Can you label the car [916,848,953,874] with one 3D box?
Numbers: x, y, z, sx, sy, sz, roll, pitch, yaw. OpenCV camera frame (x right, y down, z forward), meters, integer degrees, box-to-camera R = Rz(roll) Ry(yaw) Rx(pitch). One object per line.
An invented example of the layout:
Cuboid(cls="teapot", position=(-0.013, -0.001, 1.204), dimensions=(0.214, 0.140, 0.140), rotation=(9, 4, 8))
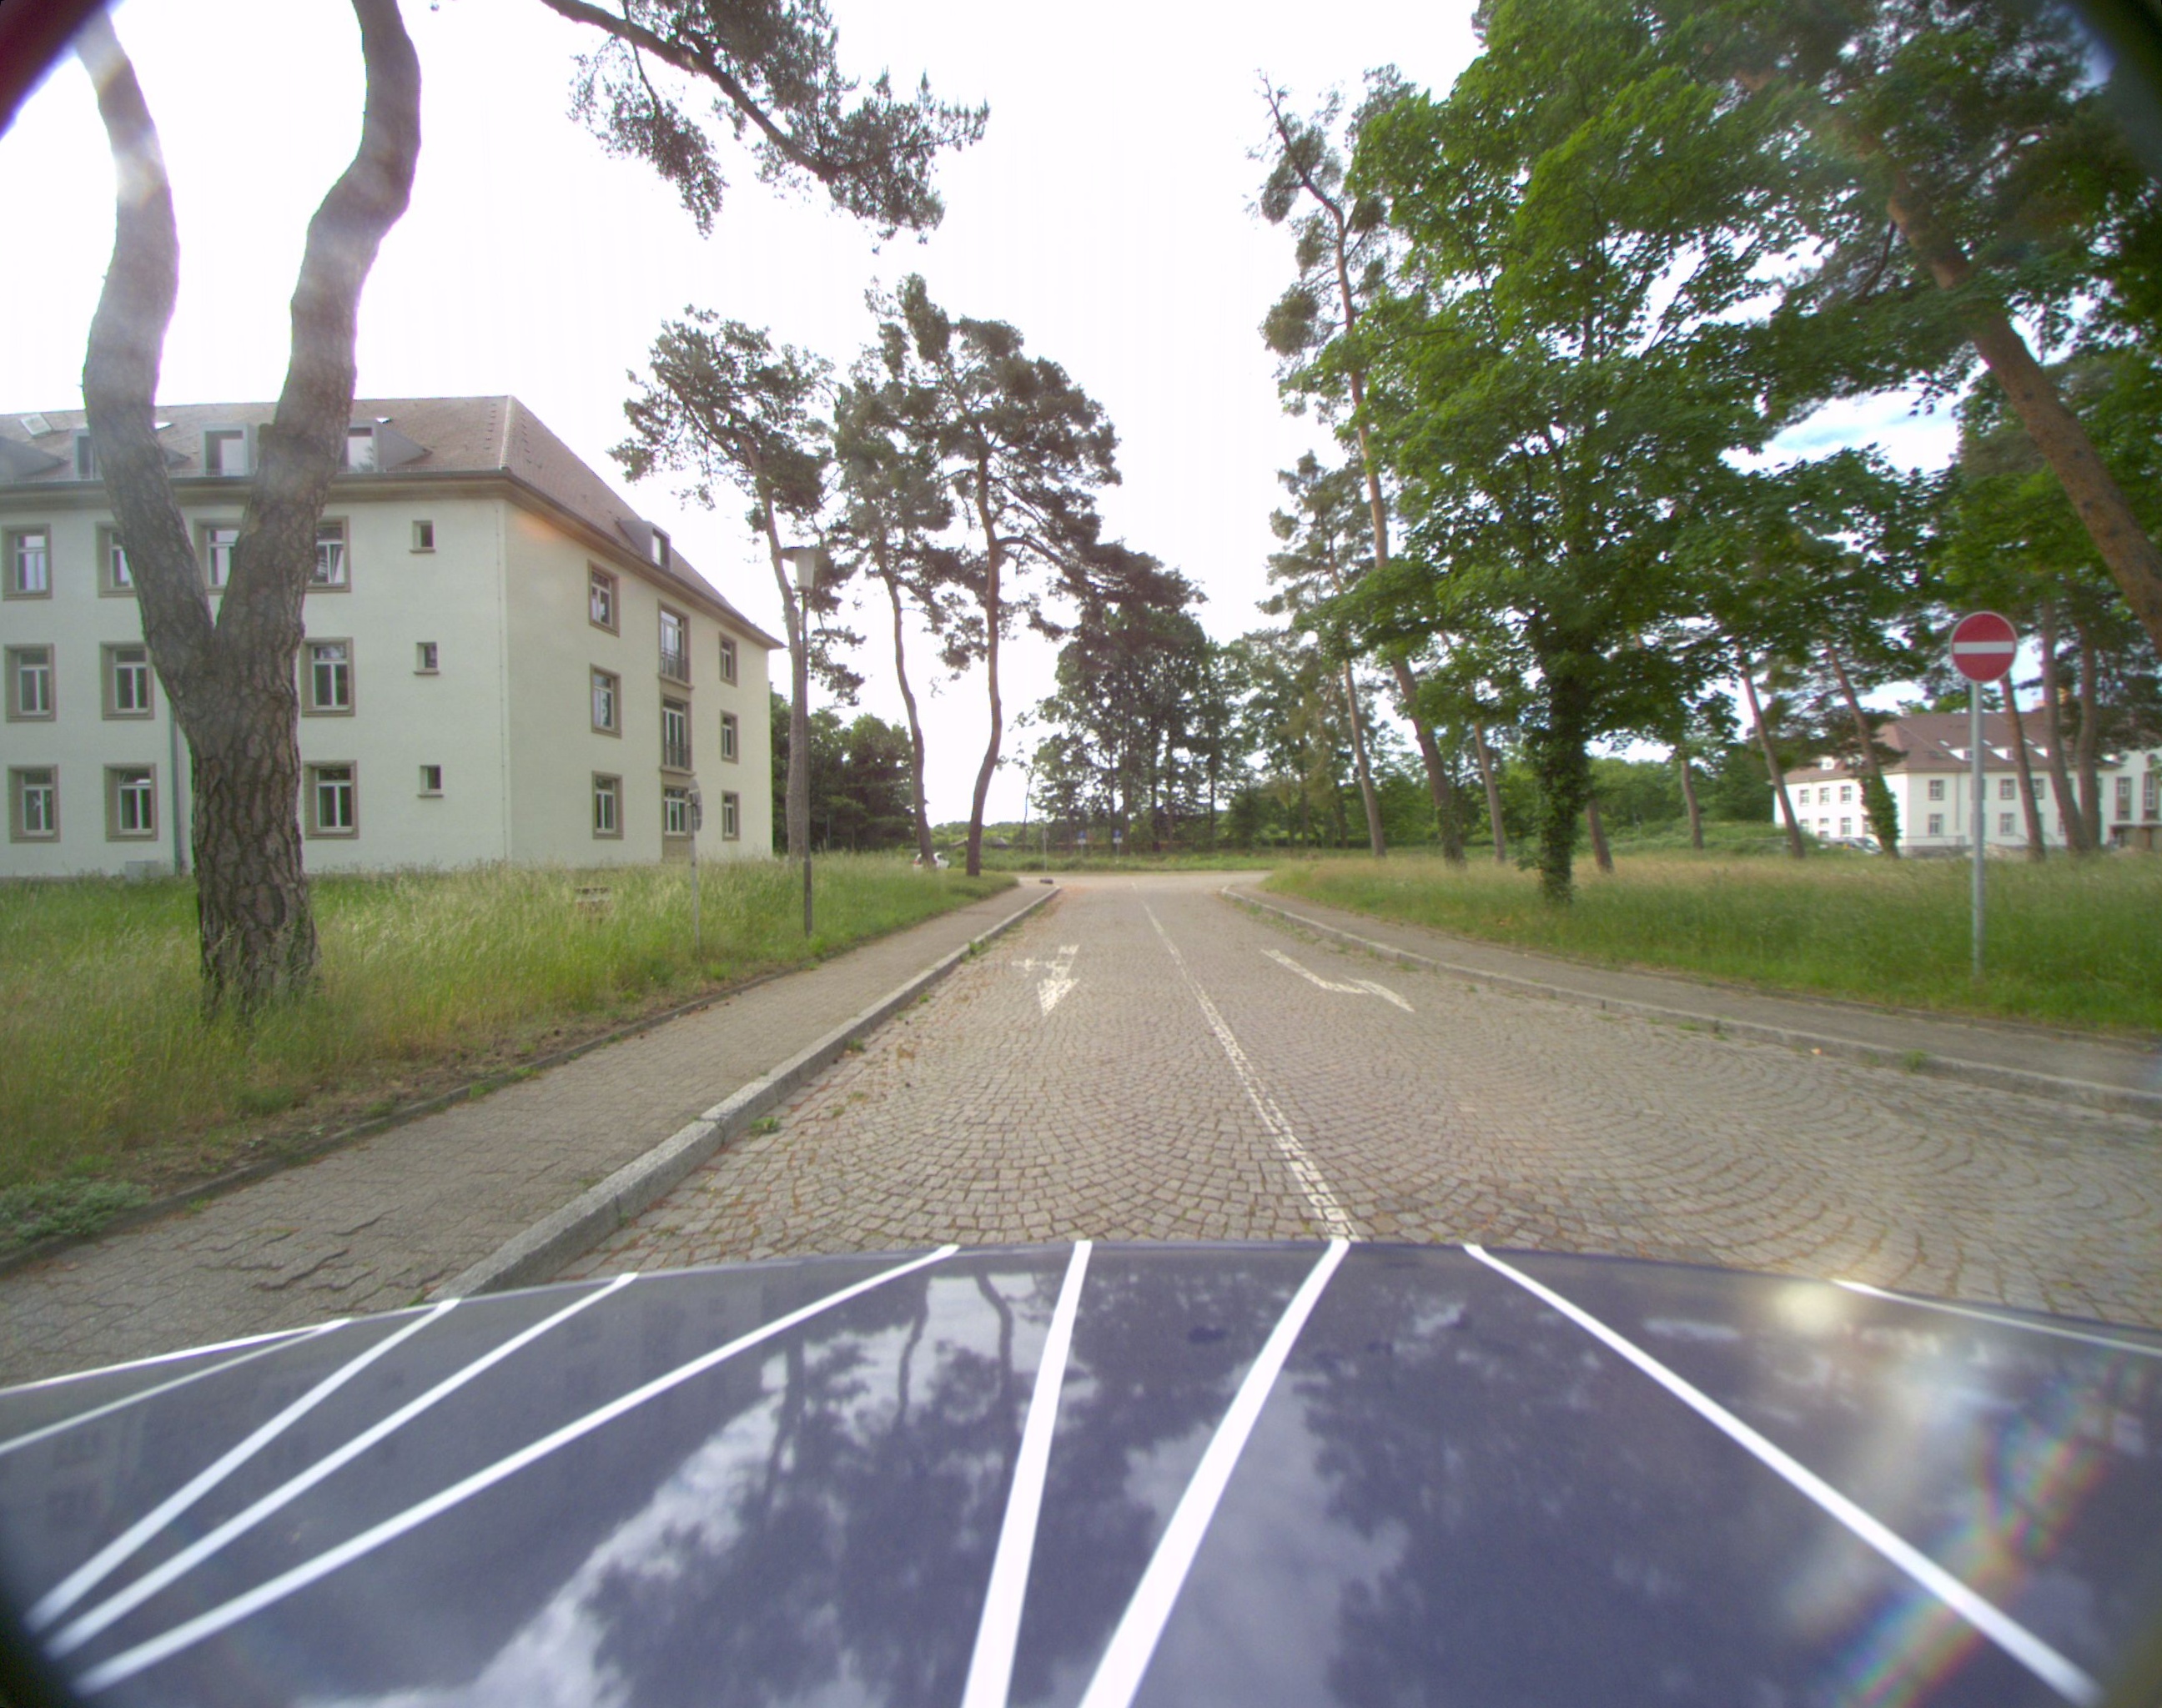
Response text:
Cuboid(cls="car", position=(-9.493, 0.427, 49.451), dimensions=(1.640, 1.426, 3.277), rotation=(-1, 3, 3))
